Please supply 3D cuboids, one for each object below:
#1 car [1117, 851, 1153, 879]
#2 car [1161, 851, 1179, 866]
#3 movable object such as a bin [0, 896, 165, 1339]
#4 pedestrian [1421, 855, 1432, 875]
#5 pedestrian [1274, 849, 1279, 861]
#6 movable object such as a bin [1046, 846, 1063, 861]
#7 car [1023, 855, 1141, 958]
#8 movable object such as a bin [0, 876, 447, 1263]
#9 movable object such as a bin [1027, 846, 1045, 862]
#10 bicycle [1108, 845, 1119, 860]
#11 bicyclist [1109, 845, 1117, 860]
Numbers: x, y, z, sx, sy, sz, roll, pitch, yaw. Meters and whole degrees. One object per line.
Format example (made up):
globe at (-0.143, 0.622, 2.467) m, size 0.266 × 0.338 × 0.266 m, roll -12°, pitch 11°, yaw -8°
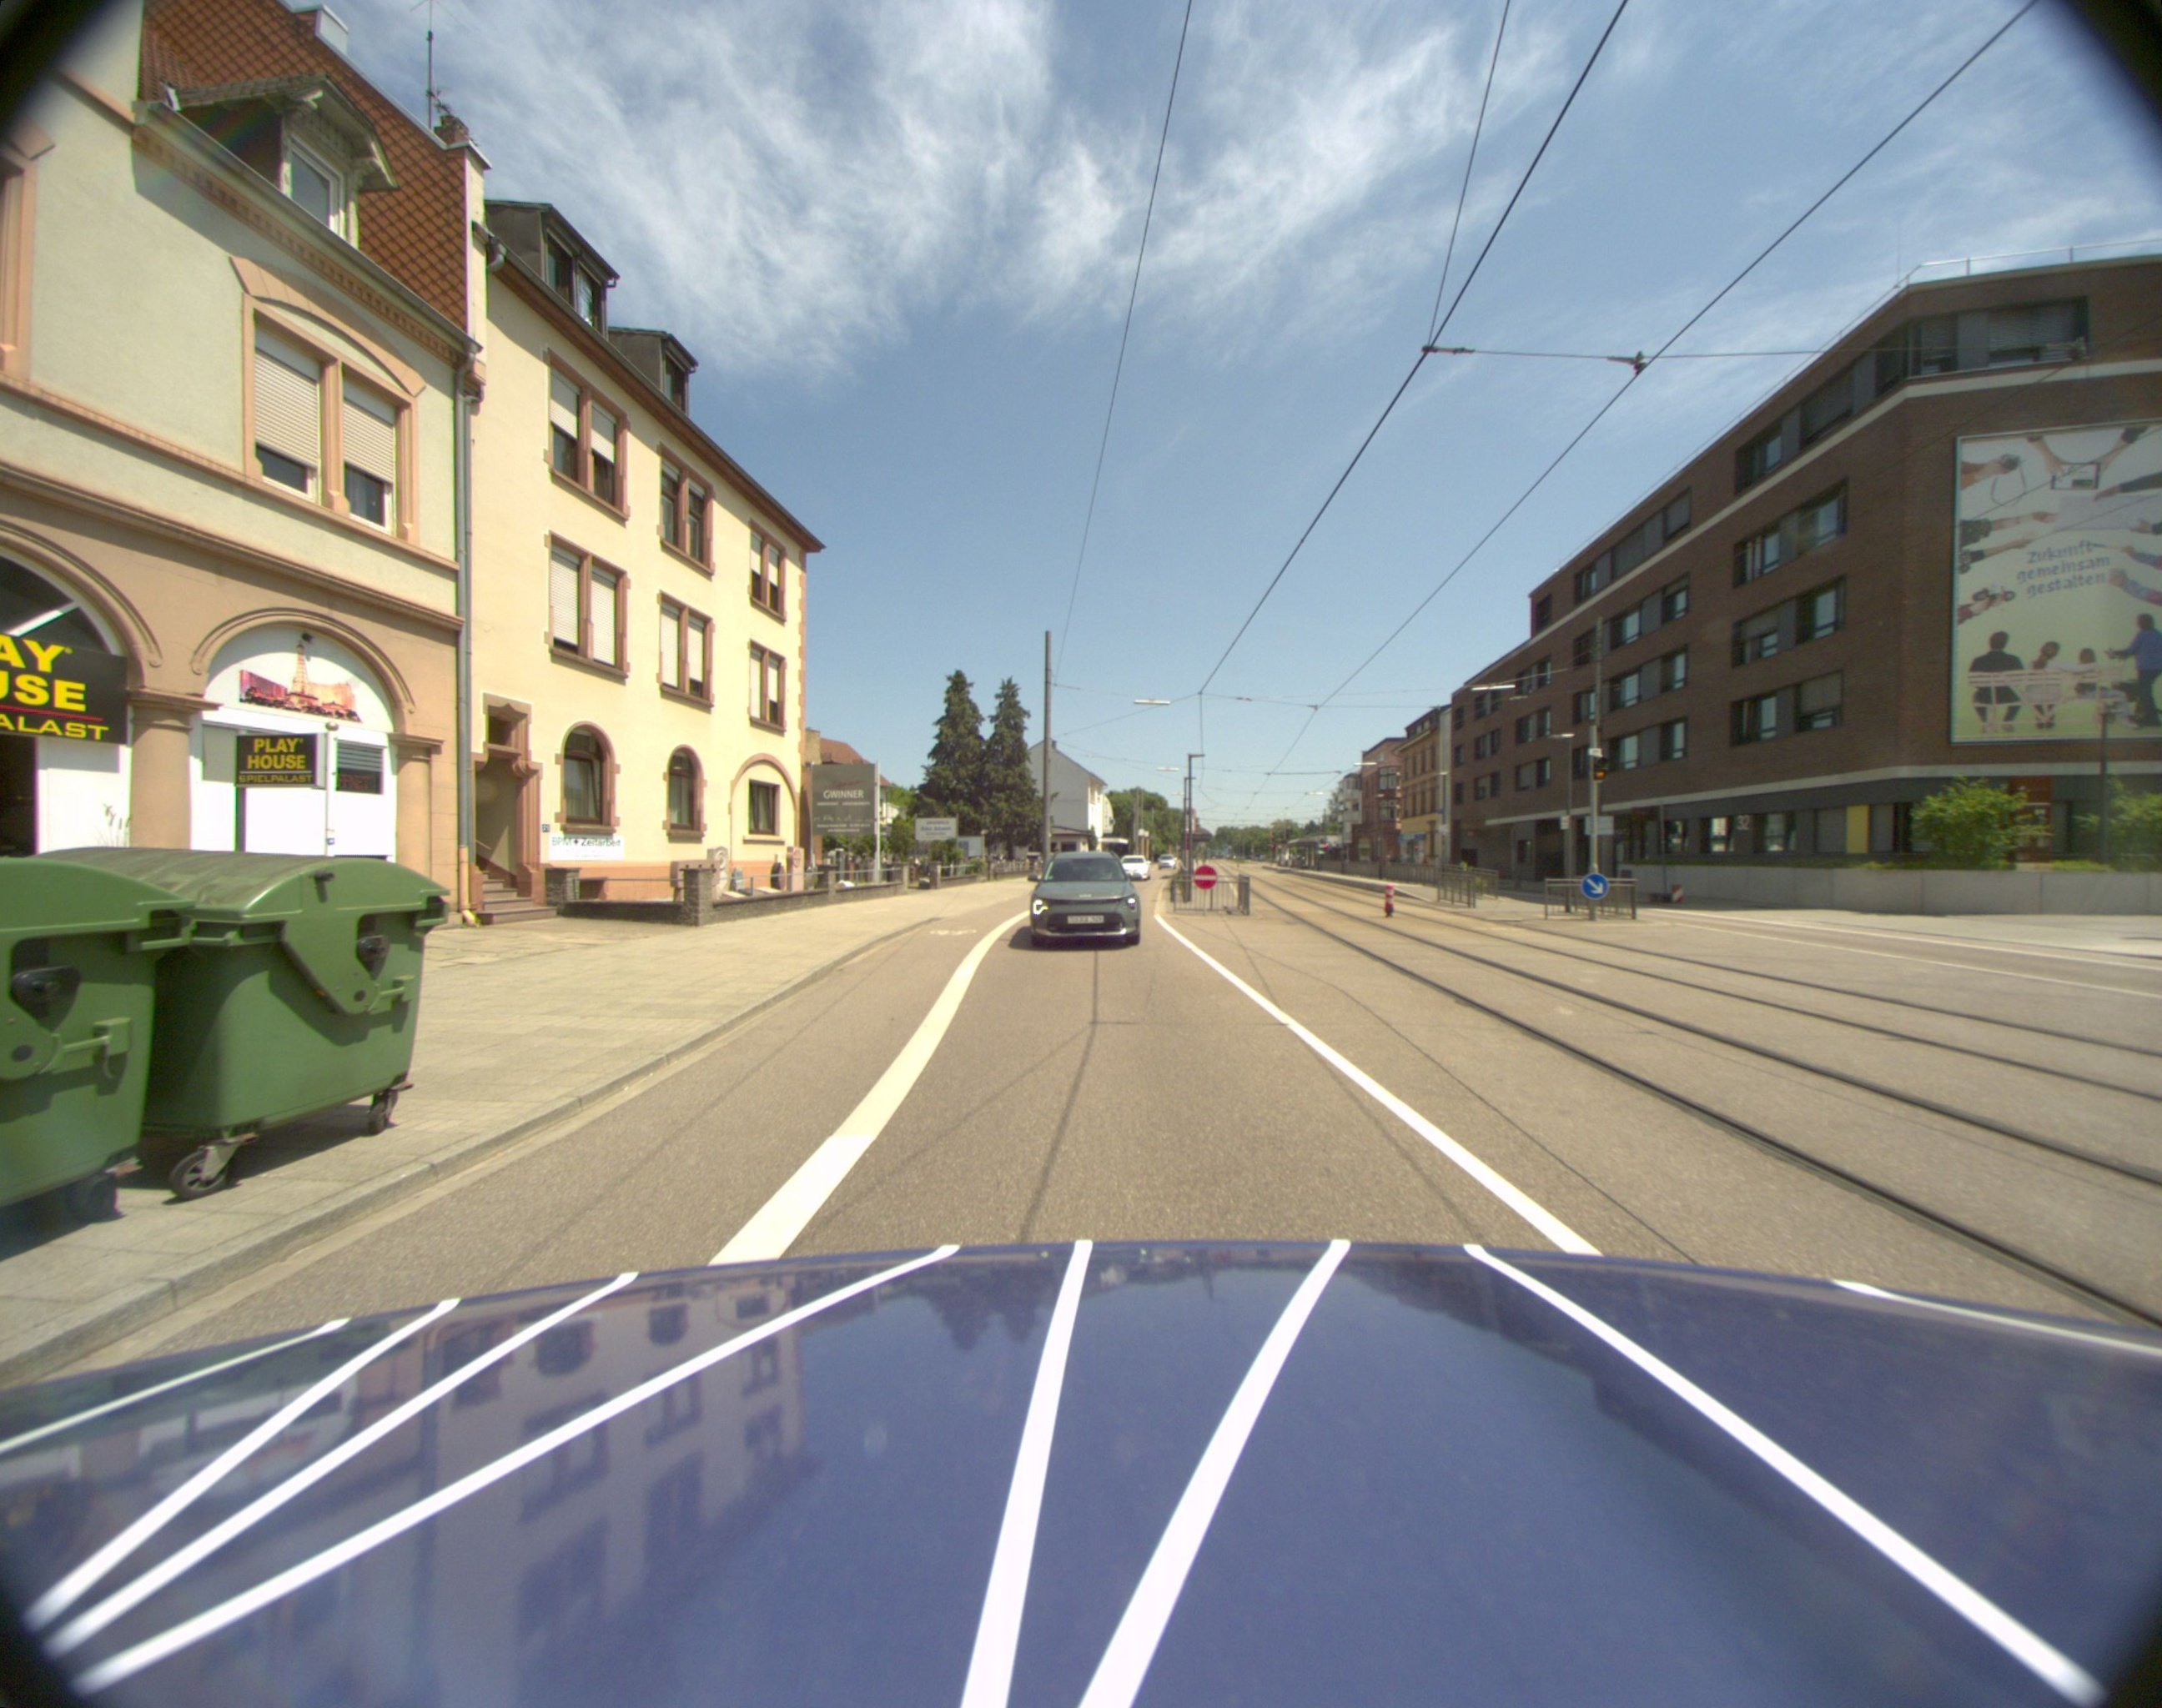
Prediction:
car at (3.202, 0.605, 44.185) m, size 1.747 × 1.546 × 4.490 m, roll -1°, pitch 0°, yaw 8°
car at (9.592, 0.460, 81.905) m, size 1.748 × 1.546 × 4.488 m, roll -1°, pitch 0°, yaw 4°
movable object such as a bin at (-4.237, 0.888, 2.447) m, size 1.250 × 1.446 × 1.057 m, roll 2°, pitch 1°, yaw -1°
pedestrian at (26.858, 0.861, 59.056) m, size 0.604 × 1.586 × 0.715 m, roll 0°, pitch 1°, yaw 7°
pedestrian at (28.124, 0.135, 109.350) m, size 0.597 × 1.615 × 0.677 m, roll 1°, pitch 1°, yaw 10°
movable object such as a bin at (-2.485, -0.046, 72.082) m, size 1.389 × 1.473 × 1.152 m, roll 0°, pitch 1°, yaw 10°
car at (0.123, 0.821, 13.978) m, size 1.827 × 1.546 × 4.488 m, roll 0°, pitch 0°, yaw 3°
movable object such as a bin at (-4.165, 0.871, 3.556) m, size 1.395 × 1.446 × 1.139 m, roll 2°, pitch 1°, yaw -1°
movable object such as a bin at (-4.300, -0.022, 72.531) m, size 1.389 × 1.473 × 1.152 m, roll 0°, pitch 1°, yaw 13°
bicycle at (3.997, -0.194, 94.308) m, size 0.799 × 1.889 × 1.961 m, roll 3°, pitch 1°, yaw 17°
bicyclist at (3.971, -0.197, 94.135) m, size 0.790 × 1.864 × 0.888 m, roll 3°, pitch 1°, yaw 17°
